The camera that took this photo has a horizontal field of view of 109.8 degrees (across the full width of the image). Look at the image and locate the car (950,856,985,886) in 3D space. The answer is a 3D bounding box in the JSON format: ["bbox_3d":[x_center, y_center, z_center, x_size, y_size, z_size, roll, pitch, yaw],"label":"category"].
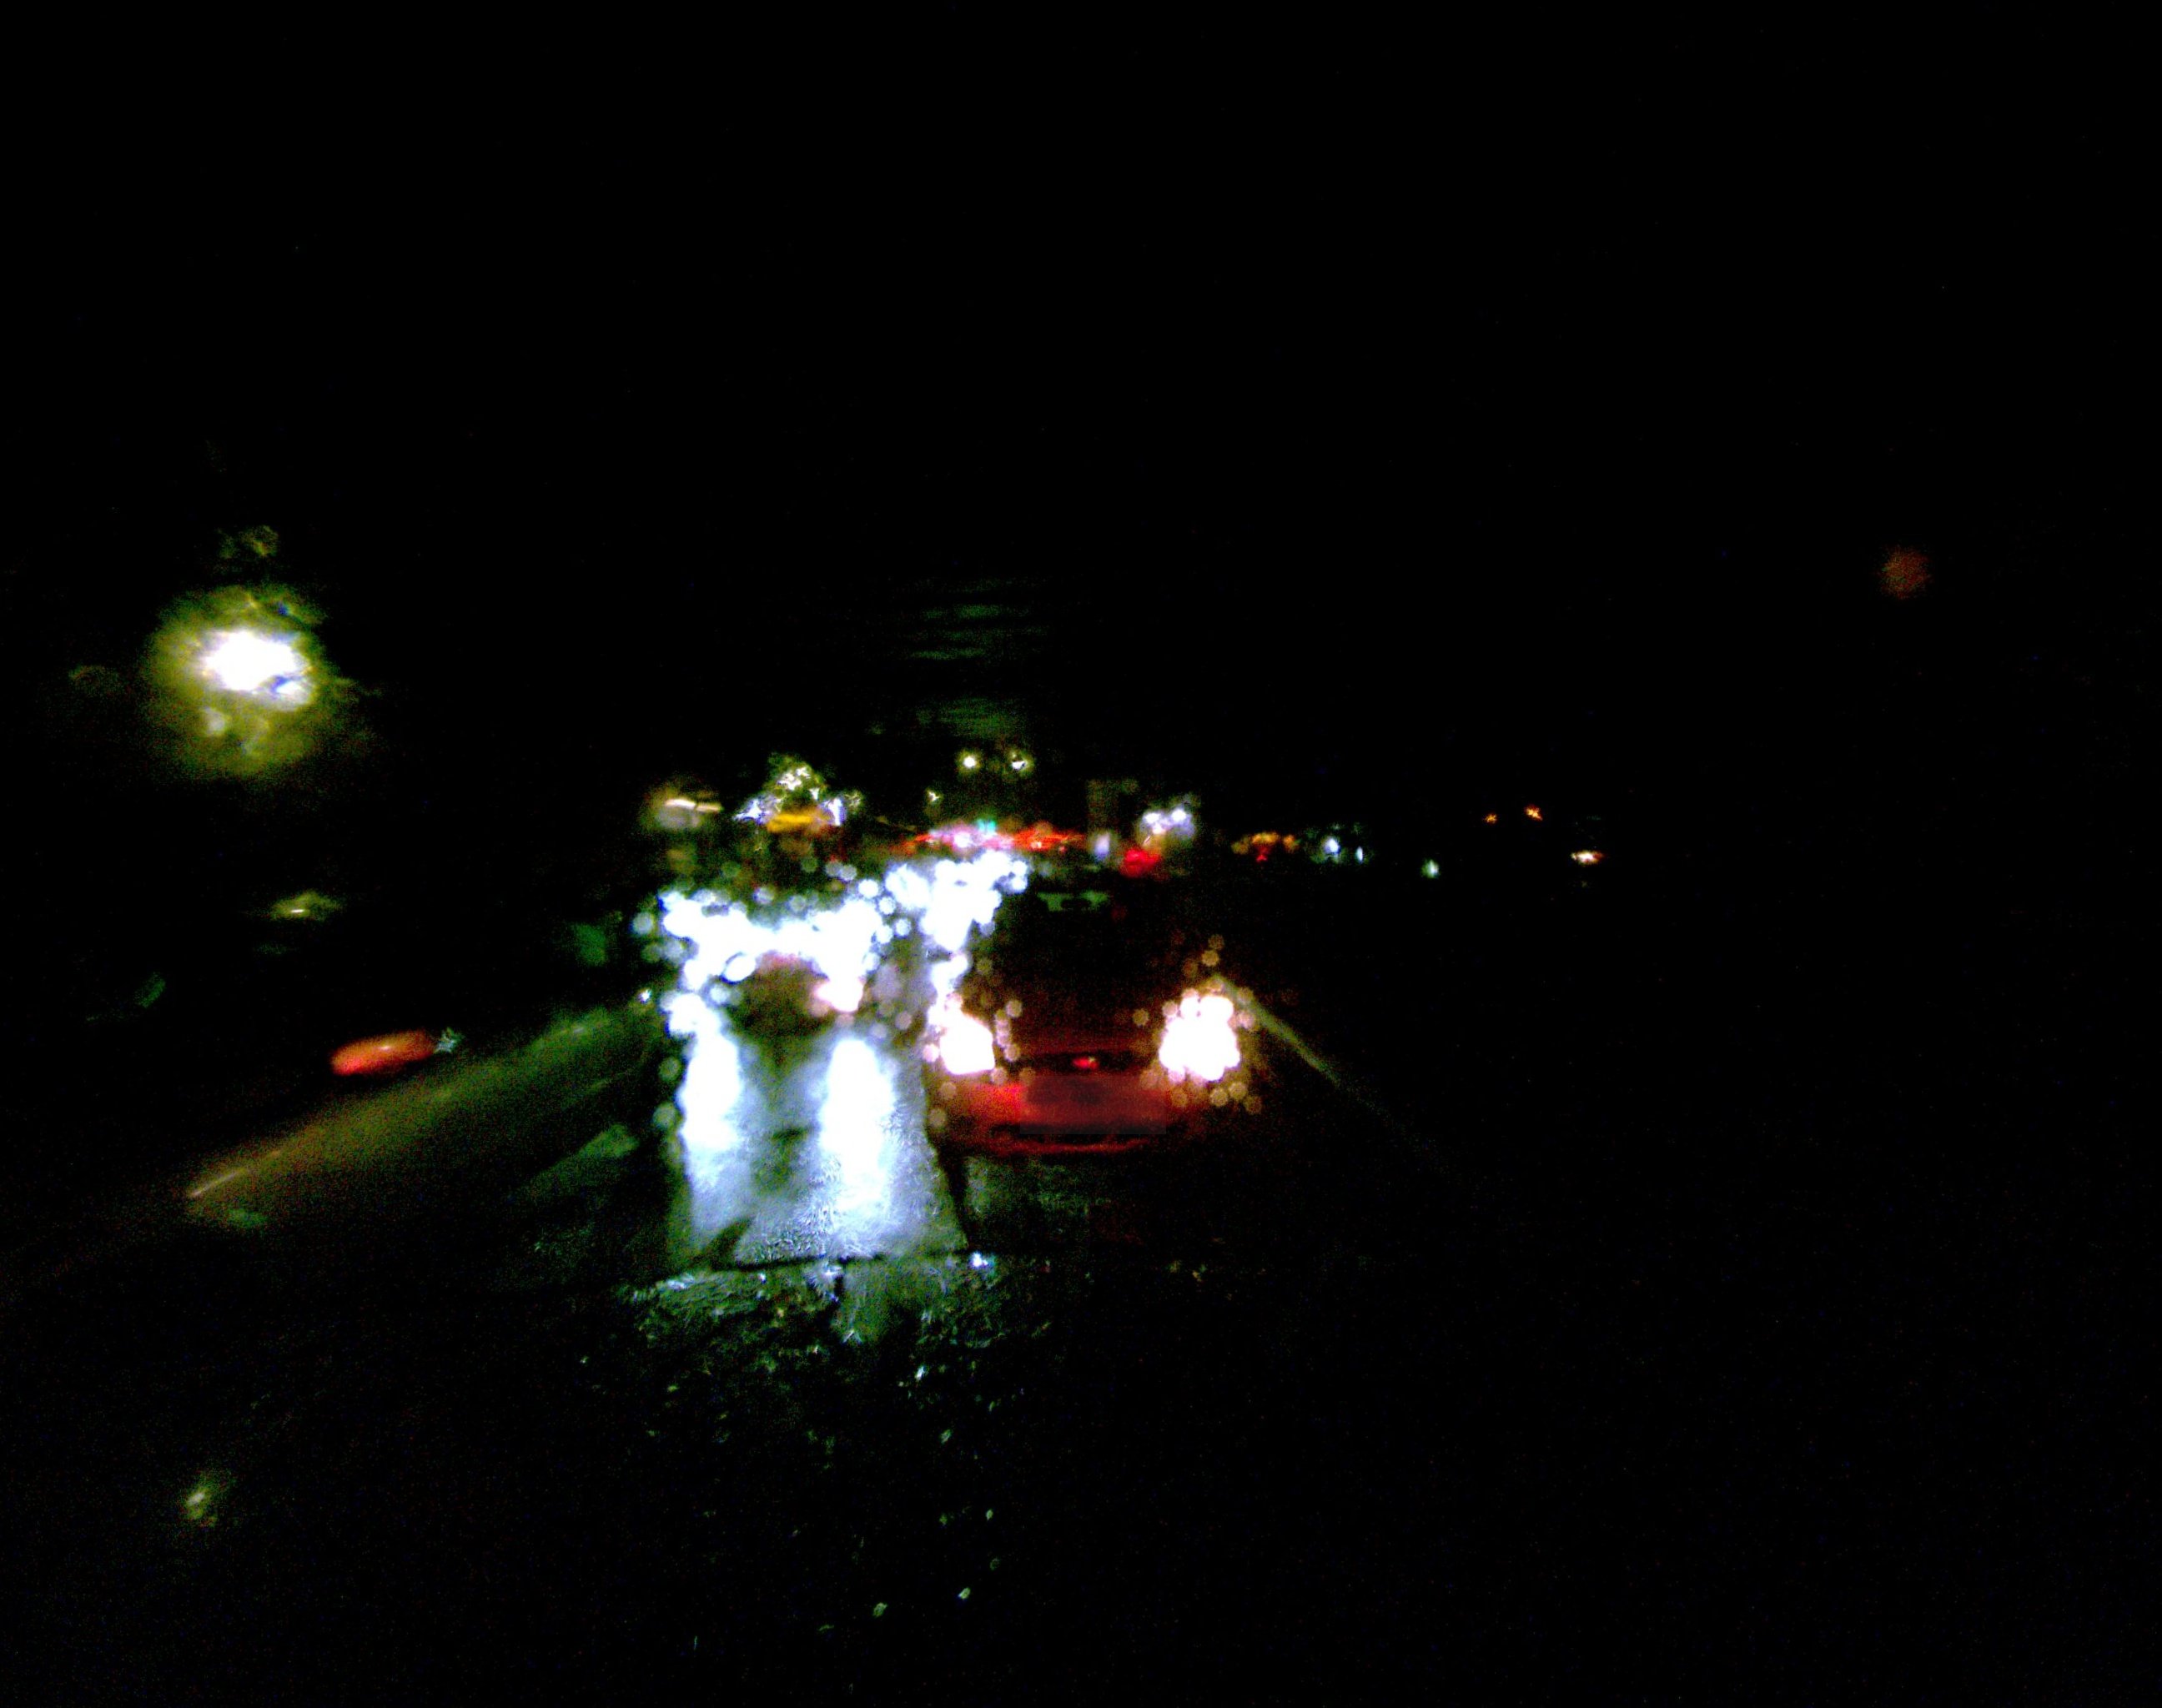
[{"bbox_3d":[-5.949,0.837,39.818,1.699,1.455,3.970,0,1,-8],"label":"car"}]

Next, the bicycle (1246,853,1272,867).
[{"bbox_3d":[12.119,0.415,51.935,0.629,0.899,2.209,-1,1,-20],"label":"bicycle"}]

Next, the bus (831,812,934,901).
[{"bbox_3d":[-8.316,0.028,33.086,2.742,3.219,9.693,-2,1,-6],"label":"bus"}]

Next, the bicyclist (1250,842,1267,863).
[{"bbox_3d":[12.122,-0.120,51.911,0.630,1.427,1.186,-1,1,-20],"label":"bicyclist"}]

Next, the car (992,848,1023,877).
[{"bbox_3d":[-4.583,0.471,46.941,1.724,1.695,3.970,0,1,-8],"label":"car"}]

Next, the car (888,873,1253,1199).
[{"bbox_3d":[-0.065,0.932,5.657,1.755,1.438,3.973,0,1,0],"label":"car"}]

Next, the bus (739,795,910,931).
[{"bbox_3d":[-7.359,0.147,23.463,2.742,3.258,9.693,-2,1,-6],"label":"bus"}]

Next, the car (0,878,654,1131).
[{"bbox_3d":[-6.437,1.092,7.516,1.724,1.478,4.786,-1,1,0],"label":"car"}]

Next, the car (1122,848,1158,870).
[{"bbox_3d":[4.212,0.313,54.955,1.830,1.455,4.422,-2,1,-6],"label":"car"}]

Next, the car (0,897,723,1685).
[{"bbox_3d":[-3.156,1.032,2.758,1.724,1.438,4.161,-1,1,0],"label":"car"}]

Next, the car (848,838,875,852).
[{"bbox_3d":[-23.733,-0.943,81.940,1.712,1.382,3.990,-2,1,-32],"label":"car"}]

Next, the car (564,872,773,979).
[{"bbox_3d":[-7.127,1.139,13.670,1.725,1.478,4.160,0,1,-4],"label":"car"}]

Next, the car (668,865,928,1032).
[{"bbox_3d":[-3.317,0.998,9.872,1.724,1.478,4.161,-4,1,0],"label":"car"}]
